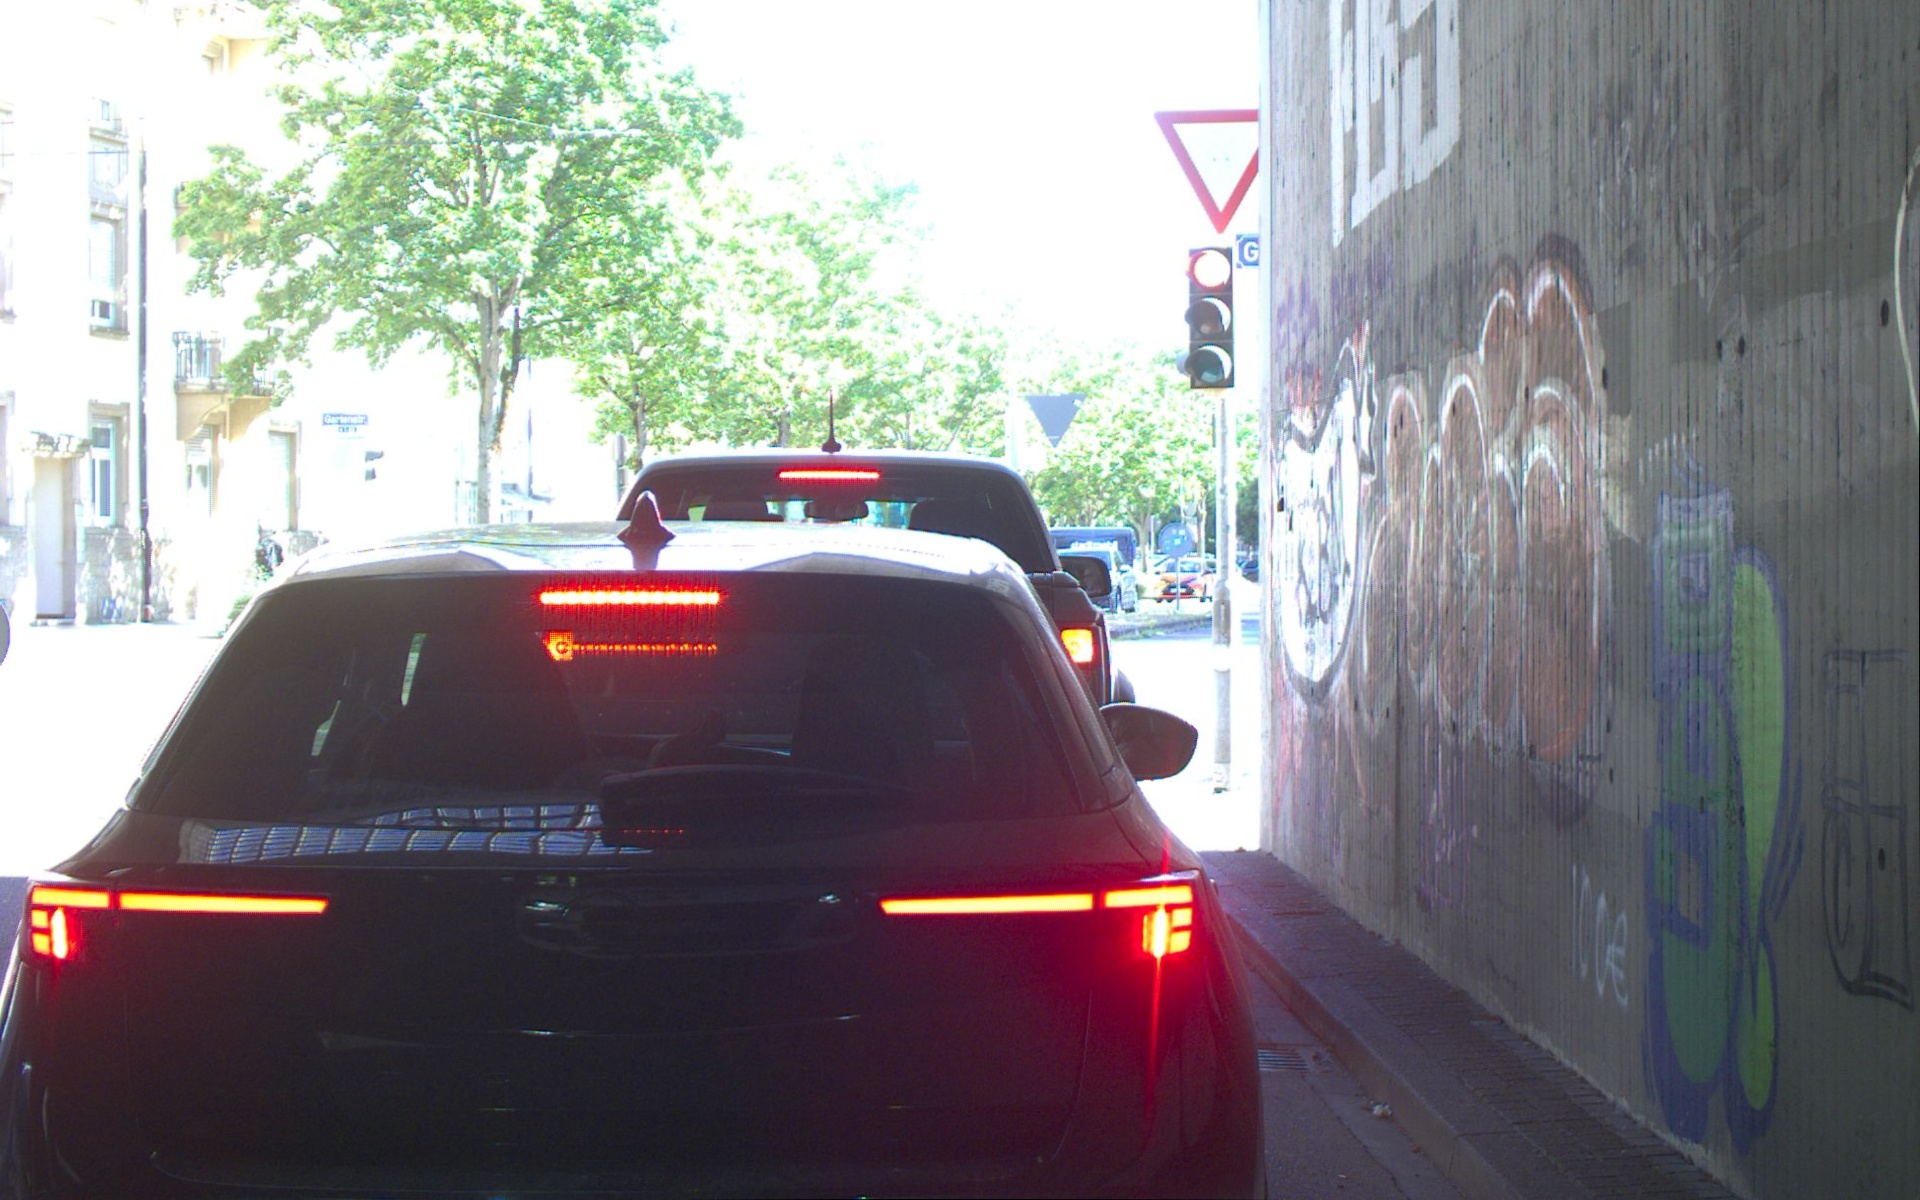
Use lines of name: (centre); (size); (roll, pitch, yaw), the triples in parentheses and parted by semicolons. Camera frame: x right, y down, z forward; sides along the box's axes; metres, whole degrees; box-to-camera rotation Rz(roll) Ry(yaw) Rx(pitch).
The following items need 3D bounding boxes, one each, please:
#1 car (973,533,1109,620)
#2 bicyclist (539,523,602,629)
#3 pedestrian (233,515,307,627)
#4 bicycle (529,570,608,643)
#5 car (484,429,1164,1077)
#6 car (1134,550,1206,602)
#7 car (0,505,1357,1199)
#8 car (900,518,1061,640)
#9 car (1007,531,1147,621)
car: (1.505, -0.396, 62.198); (1.969, 1.492, 3.895); (0, -1, 9)
bicyclist: (-5.839, -0.362, 51.544); (0.729, 1.576, 0.814); (1, 0, 9)
pedestrian: (-12.570, -0.535, 62.660); (0.992, 2.007, 1.088); (0, 1, 8)
bicycle: (-5.858, 0.094, 51.518); (0.732, 1.064, 1.688); (1, 1, 9)
car: (-0.412, 0.405, 11.894); (1.945, 1.853, 3.964); (0, 1, -1)
car: (6.858, -0.783, 111.903); (1.994, 1.656, 3.999); (1, 1, 8)
car: (-0.491, 0.623, 6.073); (1.882, 1.532, 3.964); (0, 1, -1)
car: (0.298, -0.243, 44.176); (1.968, 1.492, 3.896); (0, -1, 1)
car: (2.390, -0.452, 69.008); (2.221, 1.713, 4.458); (0, -1, 9)
